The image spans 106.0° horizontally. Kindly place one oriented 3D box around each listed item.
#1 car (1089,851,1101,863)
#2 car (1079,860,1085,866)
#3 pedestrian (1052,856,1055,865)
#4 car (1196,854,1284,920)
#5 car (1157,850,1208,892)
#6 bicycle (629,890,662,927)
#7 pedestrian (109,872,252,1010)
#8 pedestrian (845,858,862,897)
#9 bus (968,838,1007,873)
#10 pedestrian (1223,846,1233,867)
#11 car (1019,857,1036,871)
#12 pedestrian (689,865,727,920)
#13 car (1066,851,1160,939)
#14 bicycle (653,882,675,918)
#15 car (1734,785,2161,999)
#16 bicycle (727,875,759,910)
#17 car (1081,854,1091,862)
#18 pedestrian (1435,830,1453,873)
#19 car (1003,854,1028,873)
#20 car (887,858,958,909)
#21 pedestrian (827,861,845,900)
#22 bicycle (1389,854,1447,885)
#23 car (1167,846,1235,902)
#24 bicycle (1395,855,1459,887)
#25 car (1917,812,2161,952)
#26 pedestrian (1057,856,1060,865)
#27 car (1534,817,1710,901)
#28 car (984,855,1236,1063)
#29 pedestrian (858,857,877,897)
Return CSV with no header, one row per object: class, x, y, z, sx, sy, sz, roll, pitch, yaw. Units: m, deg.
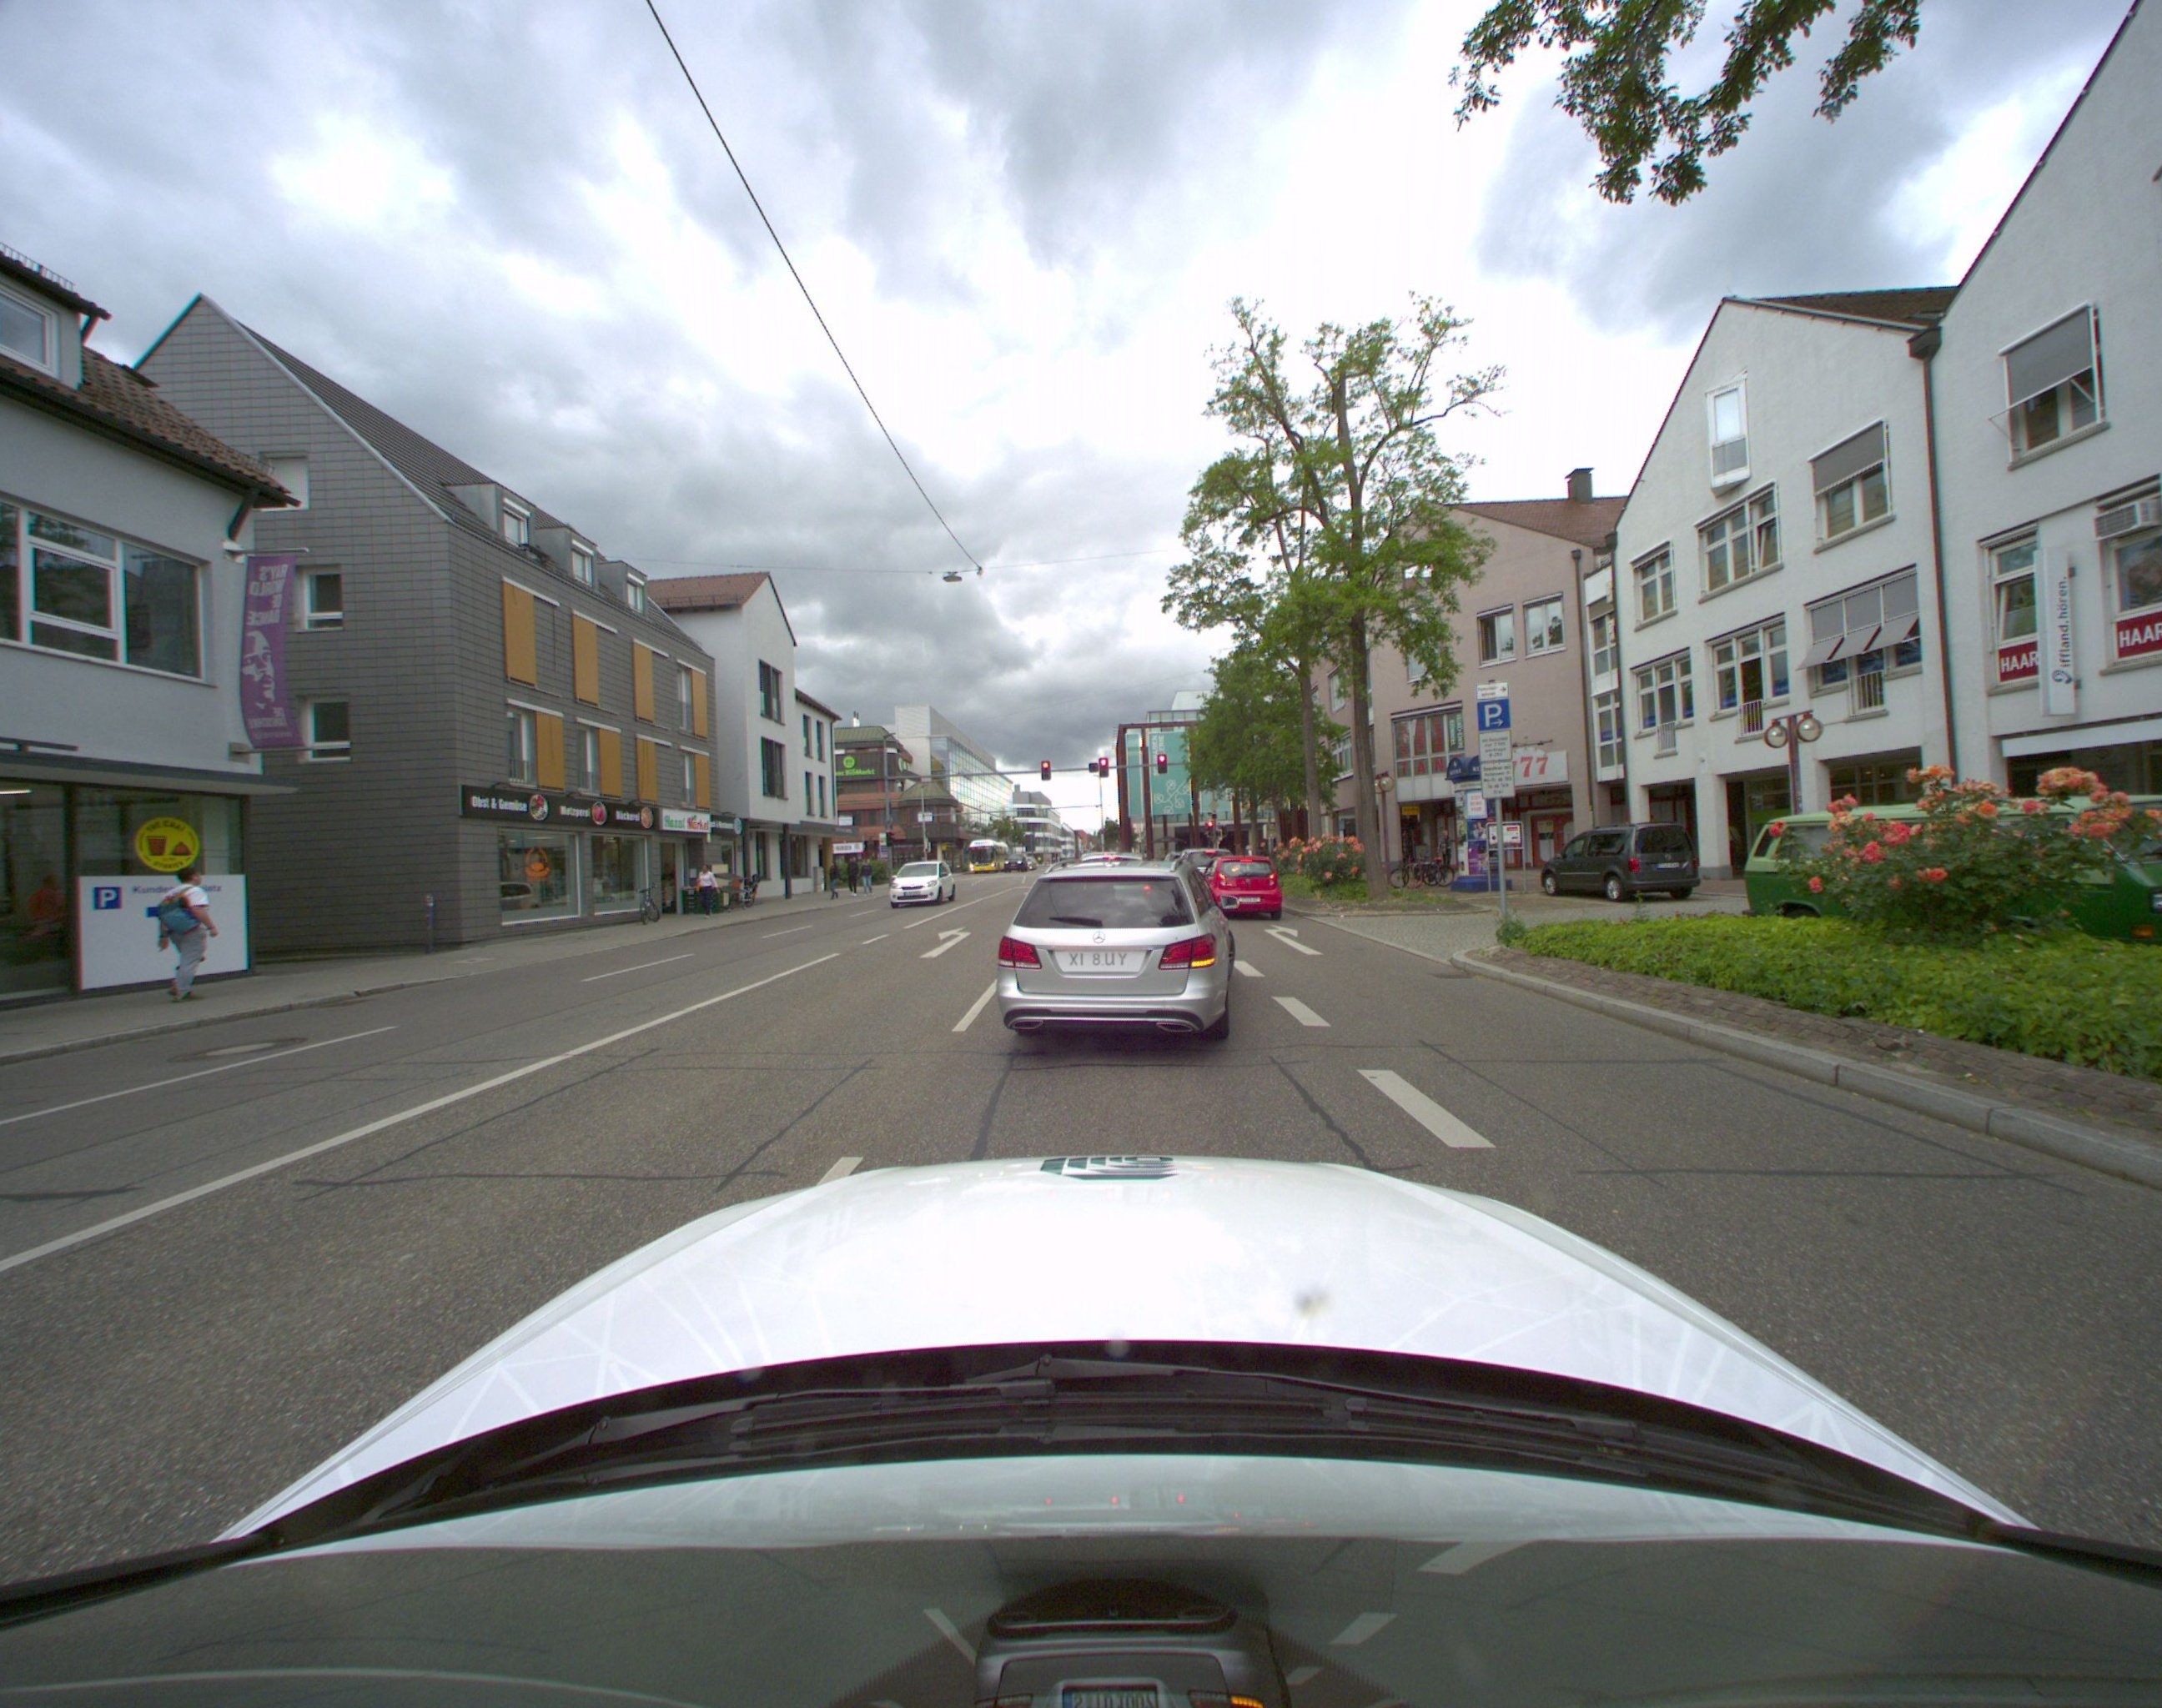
car,2.348,0.493,139.681,1.987,1.949,4.951,-2,0,1
car,0.305,2.696,248.036,1.794,1.540,4.065,-2,0,1
pedestrian,-5.525,1.294,164.117,0.516,1.733,0.490,-2,0,10
car,3.754,0.725,19.724,1.580,1.443,3.350,0,0,2
car,4.010,0.647,32.670,1.581,1.595,3.868,0,0,0
bicycle,-12.299,1.521,23.018,0.325,0.954,1.479,-2,0,-9
pedestrian,-11.777,1.098,10.686,0.751,1.705,0.981,1,0,1
pedestrian,-10.664,1.082,38.209,0.567,1.775,0.646,-2,0,-2
bus,-9.465,0.169,83.340,2.677,3.261,8.654,-2,0,1
pedestrian,12.298,0.207,68.126,0.652,1.650,0.557,-2,0,-13
car,-5.738,1.044,88.086,1.550,1.392,3.288,-2,0,1
pedestrian,-11.296,1.155,24.678,0.725,1.610,0.753,-2,0,2
car,0.627,0.727,16.150,1.634,1.527,3.395,-1,0,2
bicycle,-13.964,1.516,27.282,0.387,1.127,1.283,-3,0,-16
car,10.376,0.279,9.423,1.874,1.876,4.605,-4,0,0
bicycle,-12.396,1.401,29.881,0.385,1.186,1.825,-3,0,-1
car,1.018,0.823,165.378,1.793,1.540,4.068,-2,0,3
pedestrian,15.635,-0.106,35.052,0.644,1.834,0.614,-2,0,24
car,-6.465,0.907,80.522,1.987,1.706,4.065,-2,0,1
car,-5.296,0.947,27.548,1.568,1.488,3.465,-3,0,1
pedestrian,-10.795,1.152,35.893,0.652,1.650,0.557,-2,0,-11
bicycle,11.576,0.535,28.026,1.760,0.997,0.447,-2,0,6
car,3.721,0.590,25.818,1.581,1.634,3.916,0,0,0
bicycle,11.656,0.569,27.468,1.891,0.997,0.468,-2,0,6
car,13.034,0.282,9.596,1.790,1.542,4.394,-4,0,0
pedestrian,-4.529,1.278,164.323,0.515,1.733,0.491,-2,0,18
car,13.442,0.110,20.548,1.633,1.831,3.964,-3,0,-2
car,0.567,0.746,7.984,1.804,1.448,4.381,0,0,10
pedestrian,-9.869,1.065,37.647,0.681,1.790,0.647,-2,0,-9
